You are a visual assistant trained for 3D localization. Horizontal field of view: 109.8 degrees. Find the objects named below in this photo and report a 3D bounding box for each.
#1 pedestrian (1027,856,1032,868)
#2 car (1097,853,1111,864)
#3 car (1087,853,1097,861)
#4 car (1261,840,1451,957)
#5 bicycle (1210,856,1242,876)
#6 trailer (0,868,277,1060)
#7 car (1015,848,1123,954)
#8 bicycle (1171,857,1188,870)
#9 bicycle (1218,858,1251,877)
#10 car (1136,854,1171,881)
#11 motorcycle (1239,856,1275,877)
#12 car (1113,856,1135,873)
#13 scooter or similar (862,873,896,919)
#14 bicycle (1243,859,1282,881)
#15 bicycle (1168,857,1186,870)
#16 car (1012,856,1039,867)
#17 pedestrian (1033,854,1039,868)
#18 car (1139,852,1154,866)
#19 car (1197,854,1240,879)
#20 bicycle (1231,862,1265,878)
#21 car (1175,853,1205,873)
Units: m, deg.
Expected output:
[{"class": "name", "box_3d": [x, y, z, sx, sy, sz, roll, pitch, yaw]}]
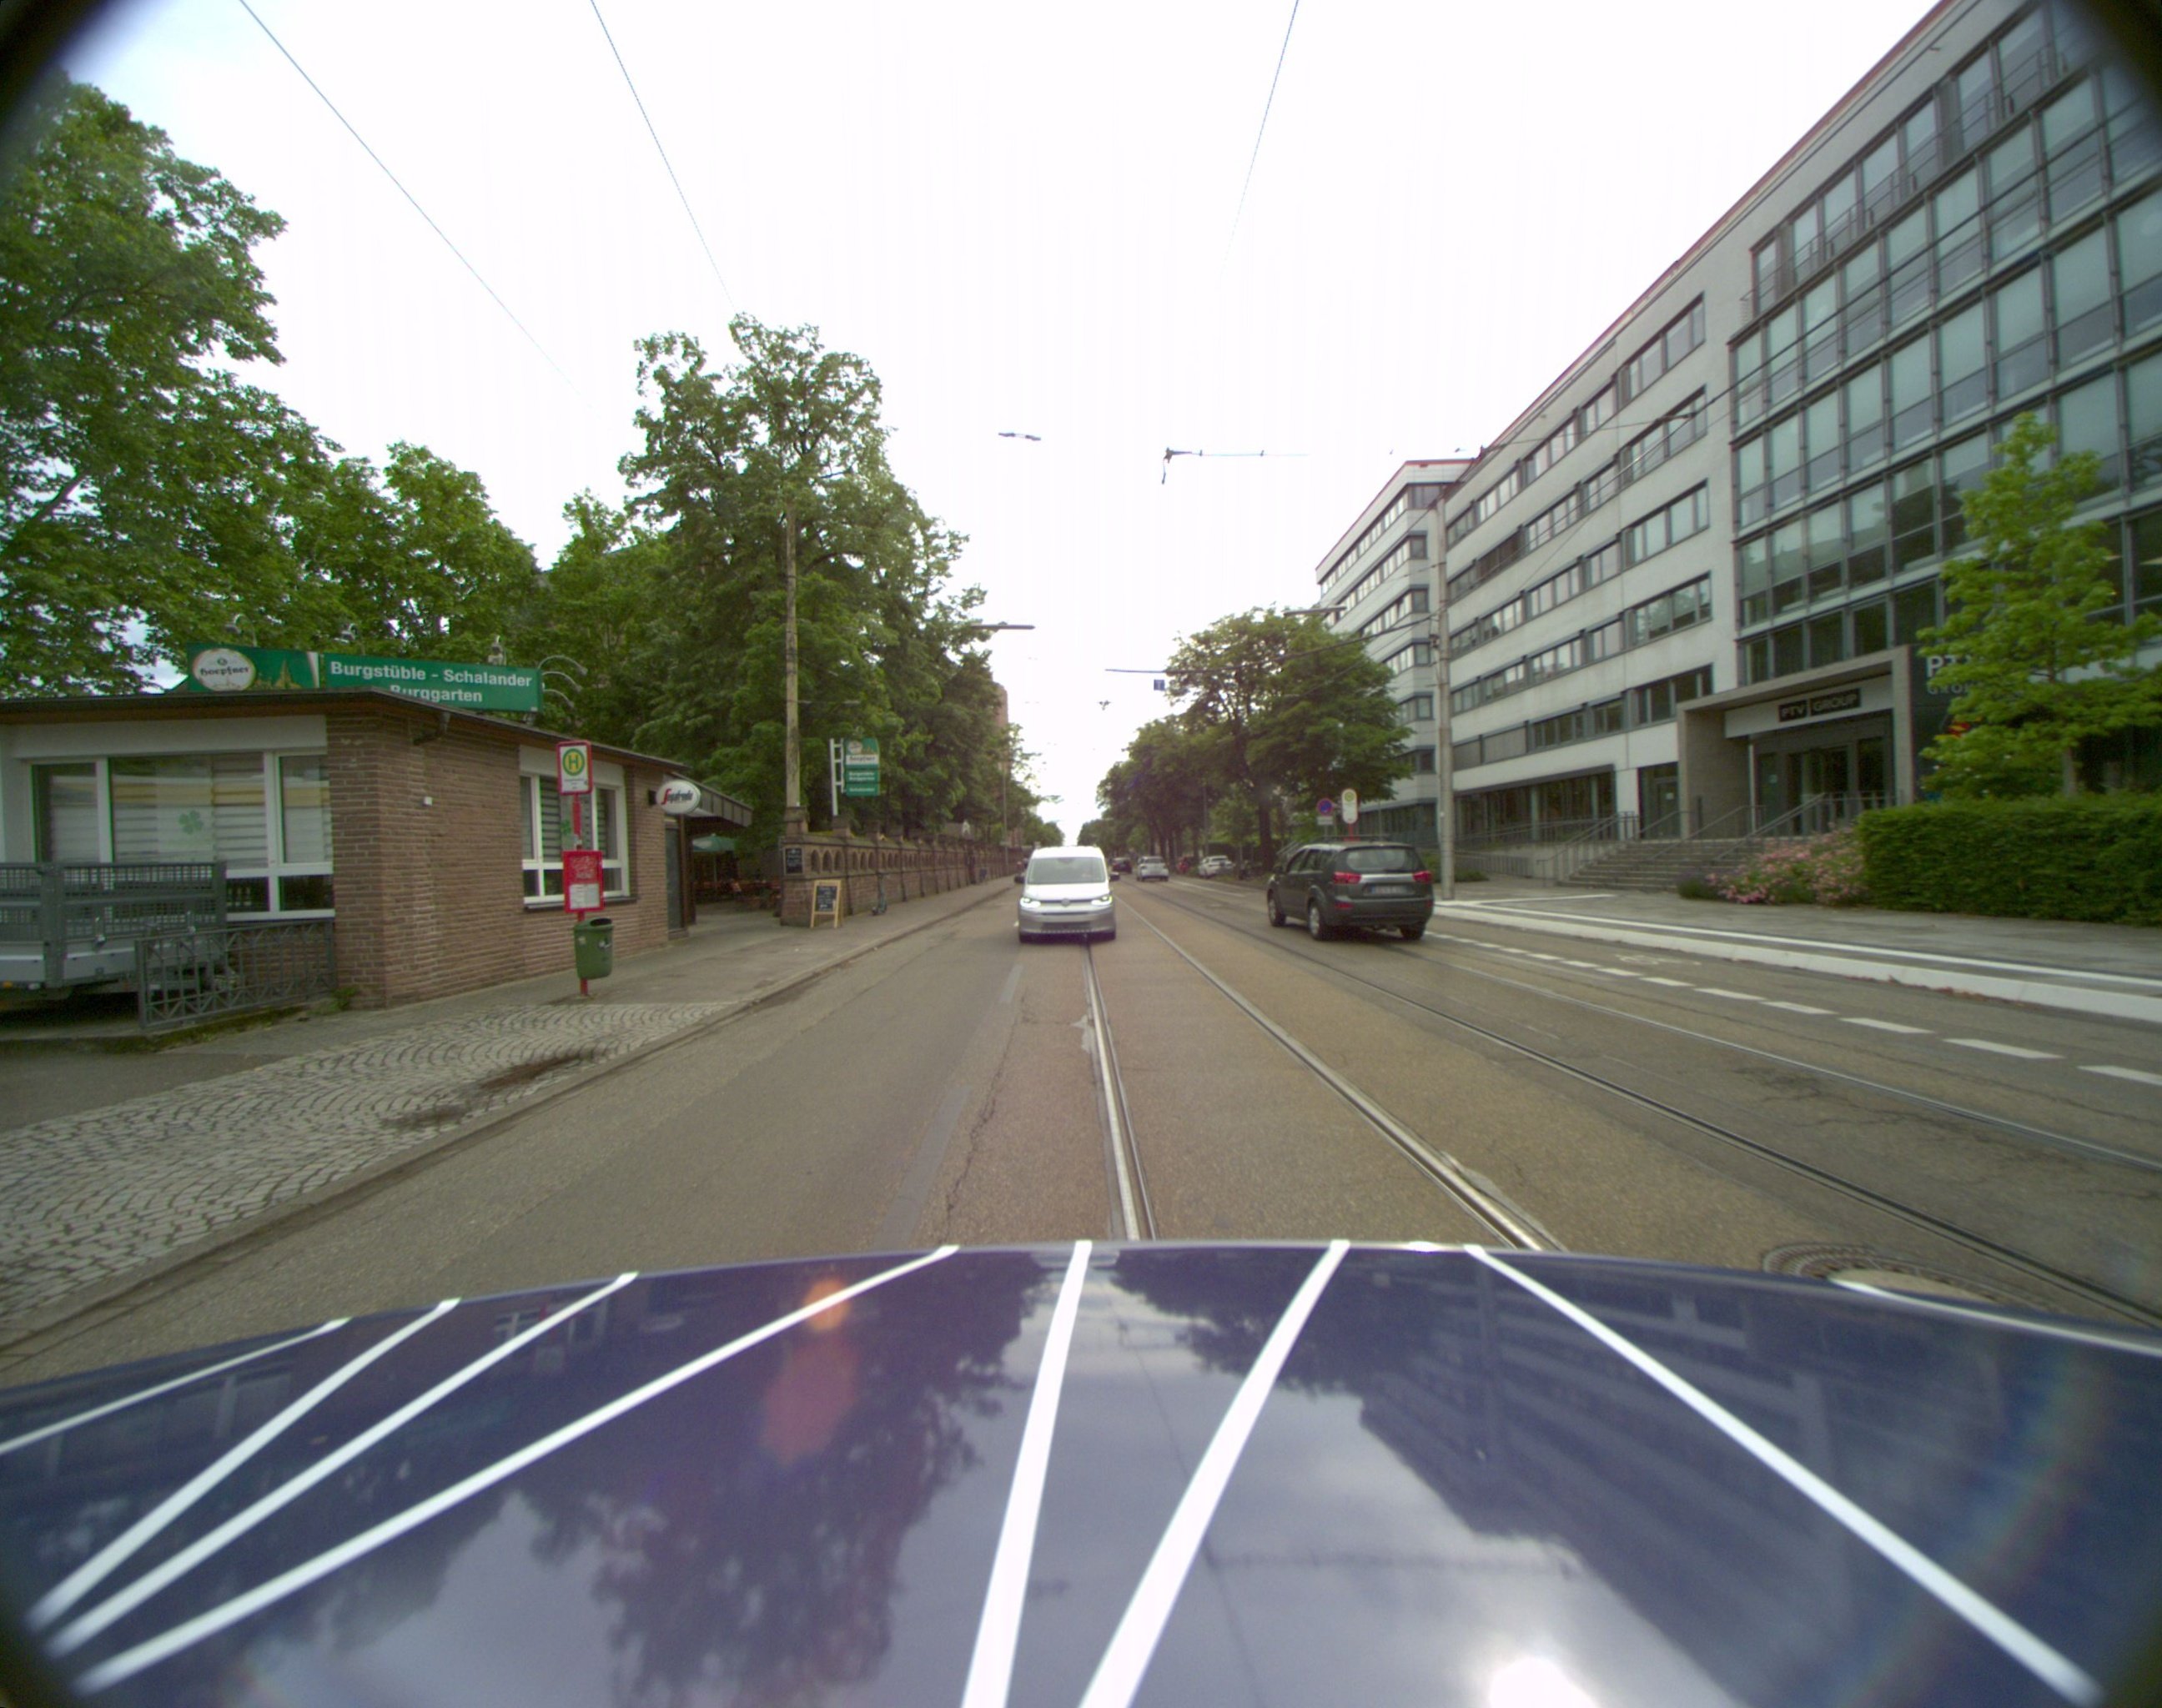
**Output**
[{"class": "pedestrian", "box_3d": [-6.689, 1.027, 98.361, 0.559, 1.645, 0.771, 0, 1, -3]}, {"class": "car", "box_3d": [3.424, 0.654, 113.562, 1.847, 1.644, 4.389, 0, 0, 0]}, {"class": "car", "box_3d": [2.278, 0.671, 159.477, 1.745, 1.490, 4.260, -2, 0, -2]}, {"class": "car", "box_3d": [4.680, 0.662, 13.682, 1.832, 1.727, 4.334, -2, 1, 0]}, {"class": "bicycle", "box_3d": [9.051, 0.758, 47.497, 1.868, 1.180, 0.632, -1, 1, 4]}, {"class": "trailer", "box_3d": [-9.993, 0.971, 7.106, 3.169, 1.530, 1.621, -2, 1, 1]}, {"class": "car", "box_3d": [-0.228, 0.793, 15.649, 1.850, 1.797, 4.936, -1, 1, 0]}, {"class": "bicycle", "box_3d": [9.260, 0.886, 71.445, 1.473, 1.134, 0.617, -2, 1, -2]}, {"class": "bicycle", "box_3d": [9.345, 0.797, 46.263, 1.811, 1.094, 0.632, -1, 1, -7]}, {"class": "car", "box_3d": [4.455, 0.799, 47.162, 1.708, 1.521, 3.741, -3, 1, -2]}, {"class": "motorcycle", "box_3d": [9.788, 0.705, 42.236, 1.793, 1.044, 0.732, -3, 1, -7]}, {"class": "car", "box_3d": [3.998, 0.987, 71.343, 1.752, 1.477, 4.063, -1, -1, 0]}, {"class": "scooter or similar", "box_3d": [-5.763, 1.172, 21.720, 0.578, 1.232, 1.410, 1, 0, 0]}, {"class": "bicycle", "box_3d": [9.571, 0.849, 40.031, 1.834, 1.047, 0.741, -2, 0, -9]}, {"class": "bicycle", "box_3d": [8.937, 0.911, 70.439, 1.474, 1.085, 0.616, -4, 1, -13]}, {"class": "car", "box_3d": [-9.008, 1.232, 123.763, 3.993, 1.608, 2.002, 2, 1, 11]}, {"class": "pedestrian", "box_3d": [-5.848, 0.931, 98.498, 0.723, 1.834, 0.897, -1, 1, -3]}, {"class": "car", "box_3d": [8.734, 0.696, 101.442, 1.815, 1.699, 4.000, -3, 1, 3]}, {"class": "car", "box_3d": [9.063, 0.775, 50.353, 1.886, 1.484, 4.753, -3, 0, 0]}, {"class": "bicycle", "box_3d": [9.622, 0.921, 43.874, 1.811, 0.894, 0.632, -1, 1, -7]}, {"class": "car", "box_3d": [9.078, 0.753, 63.672, 1.632, 1.439, 3.756, -5, 1, -4]}]
